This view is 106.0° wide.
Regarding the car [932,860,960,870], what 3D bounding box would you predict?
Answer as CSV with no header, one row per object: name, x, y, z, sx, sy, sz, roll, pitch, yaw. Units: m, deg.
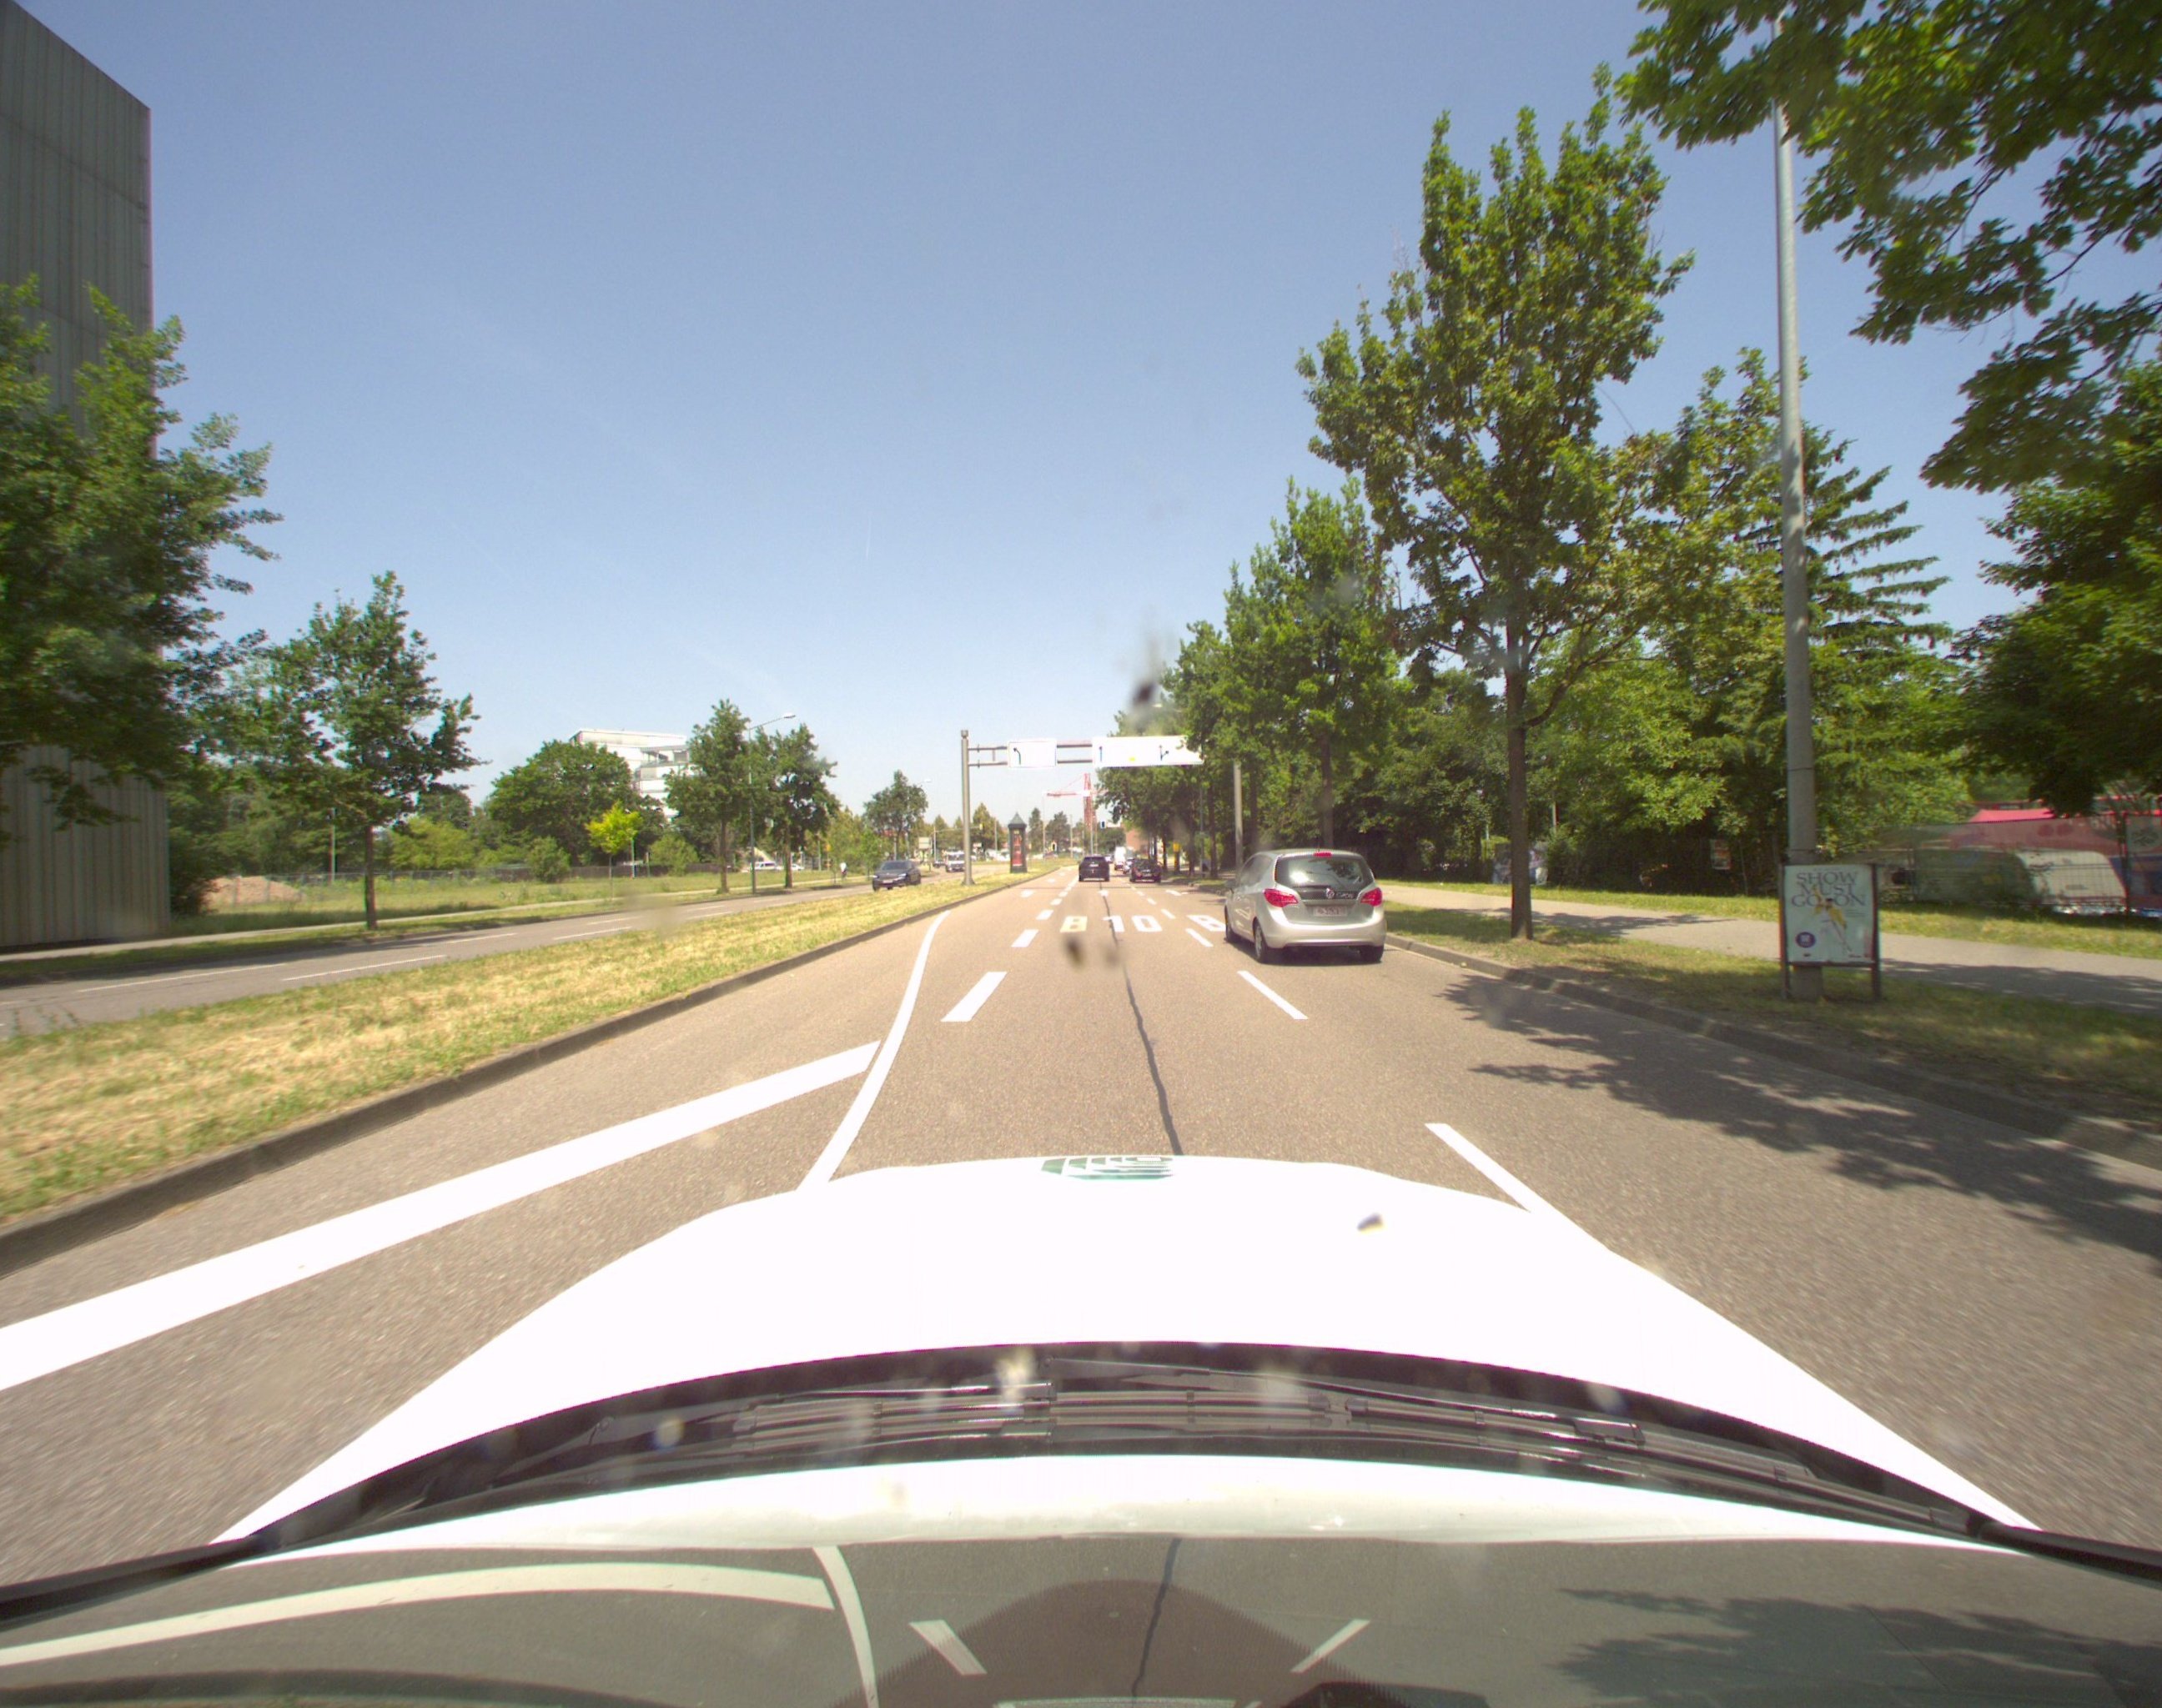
car,-21.054,1.652,127.296,3.972,1.453,2.001,-2,0,1

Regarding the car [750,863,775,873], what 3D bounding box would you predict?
car,-63.278,2.796,161.862,1.974,1.878,4.317,-2,0,31

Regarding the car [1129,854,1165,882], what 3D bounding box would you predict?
car,3.938,0.806,49.007,2.006,1.517,4.464,-2,0,3

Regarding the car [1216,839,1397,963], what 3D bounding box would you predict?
car,3.285,0.609,12.639,1.786,1.612,3.891,-1,0,1

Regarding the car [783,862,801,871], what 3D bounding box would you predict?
car,-70.047,2.937,197.631,4.000,1.816,1.986,-2,-7,-20

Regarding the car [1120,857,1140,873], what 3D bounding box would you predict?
car,4.432,0.999,74.276,1.648,1.356,4.462,-2,0,1

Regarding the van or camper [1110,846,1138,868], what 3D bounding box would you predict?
van or camper,4.629,0.353,89.047,2.488,2.291,4.915,-2,0,-3

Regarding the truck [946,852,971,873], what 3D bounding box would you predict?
truck,-15.995,1.066,106.396,2.634,2.576,6.309,-2,0,-4

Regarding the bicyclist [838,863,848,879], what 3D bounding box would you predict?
bicyclist,-22.840,1.619,78.108,0.620,1.489,0.758,-2,0,4

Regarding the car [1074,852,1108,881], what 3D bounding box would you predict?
car,0.684,0.754,51.425,1.990,1.689,4.036,-1,0,2

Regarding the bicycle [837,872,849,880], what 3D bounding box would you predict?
bicycle,-22.804,2.130,78.093,0.479,0.715,1.852,-2,0,4

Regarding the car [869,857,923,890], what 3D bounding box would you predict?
car,-9.885,1.022,43.883,1.887,1.610,4.532,-2,0,-1
